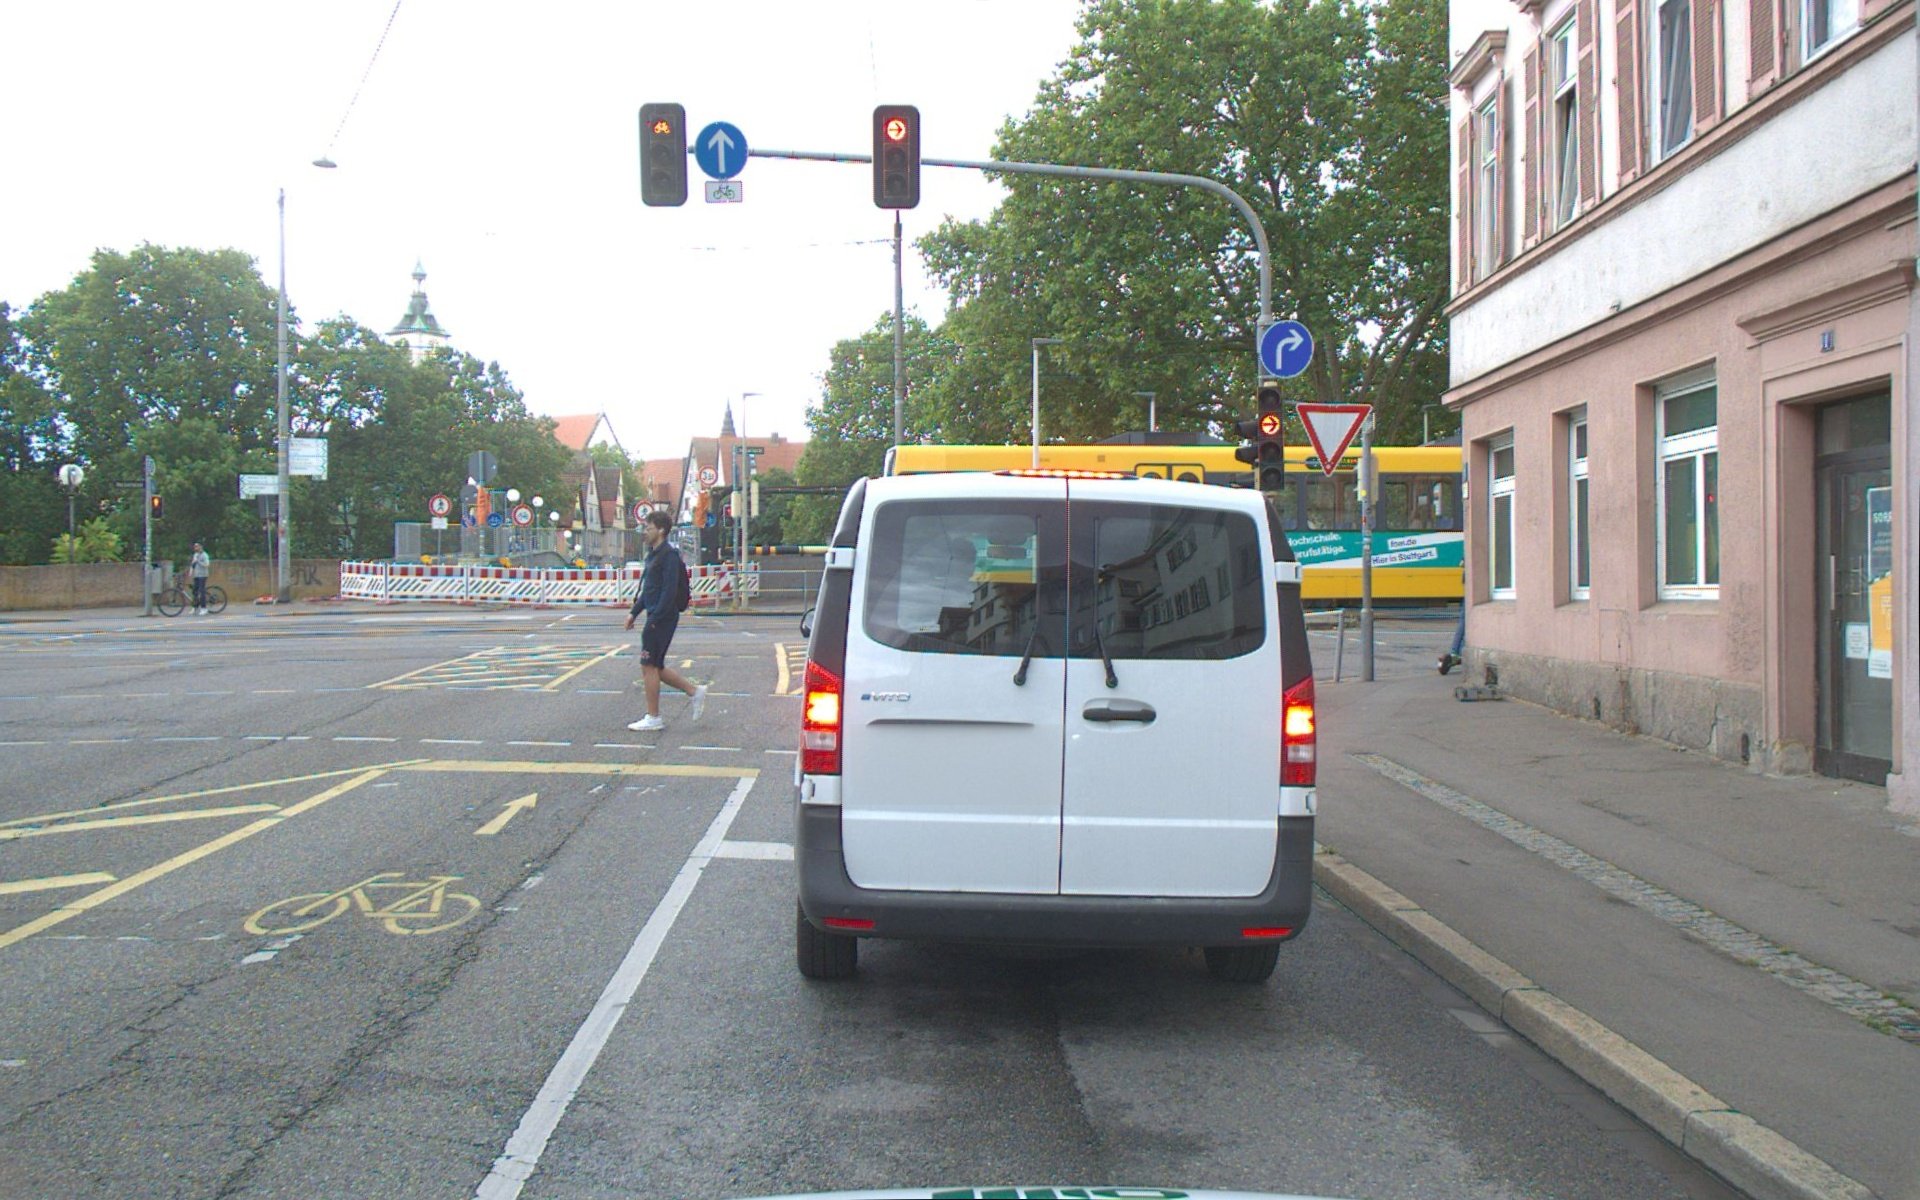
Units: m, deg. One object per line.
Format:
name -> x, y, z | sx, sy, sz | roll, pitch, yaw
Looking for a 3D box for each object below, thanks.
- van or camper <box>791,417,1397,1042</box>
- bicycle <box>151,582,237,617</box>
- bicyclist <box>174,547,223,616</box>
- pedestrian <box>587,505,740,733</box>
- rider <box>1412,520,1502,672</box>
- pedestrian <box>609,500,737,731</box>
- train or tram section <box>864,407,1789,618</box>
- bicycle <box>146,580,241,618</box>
van or camper -> 0.318, 0.387, 7.459 | 1.899, 1.958, 4.438 | 1, 1, -3
bicycle -> -19.680, -0.029, 42.530 | 0.551, 0.881, 1.937 | 0, 1, 45
bicyclist -> -19.654, -0.483, 42.691 | 0.996, 1.774, 0.744 | -1, 1, -41
pedestrian -> -2.586, 0.127, 14.432 | 1.142, 1.888, 0.669 | -2, 5, -40
rider -> 6.349, -0.051, 21.108 | 0.792, 1.879, 0.708 | -3, 0, -44
pedestrian -> -2.505, 0.139, 14.407 | 0.988, 1.948, 0.622 | 1, 0, -19
train or tram section -> 7.497, -1.809, 34.658 | 18.855, 4.072, 3.306 | 0, 3, -6
bicycle -> -19.738, -0.031, 42.621 | 2.118, 0.907, 0.749 | -1, 2, -41
